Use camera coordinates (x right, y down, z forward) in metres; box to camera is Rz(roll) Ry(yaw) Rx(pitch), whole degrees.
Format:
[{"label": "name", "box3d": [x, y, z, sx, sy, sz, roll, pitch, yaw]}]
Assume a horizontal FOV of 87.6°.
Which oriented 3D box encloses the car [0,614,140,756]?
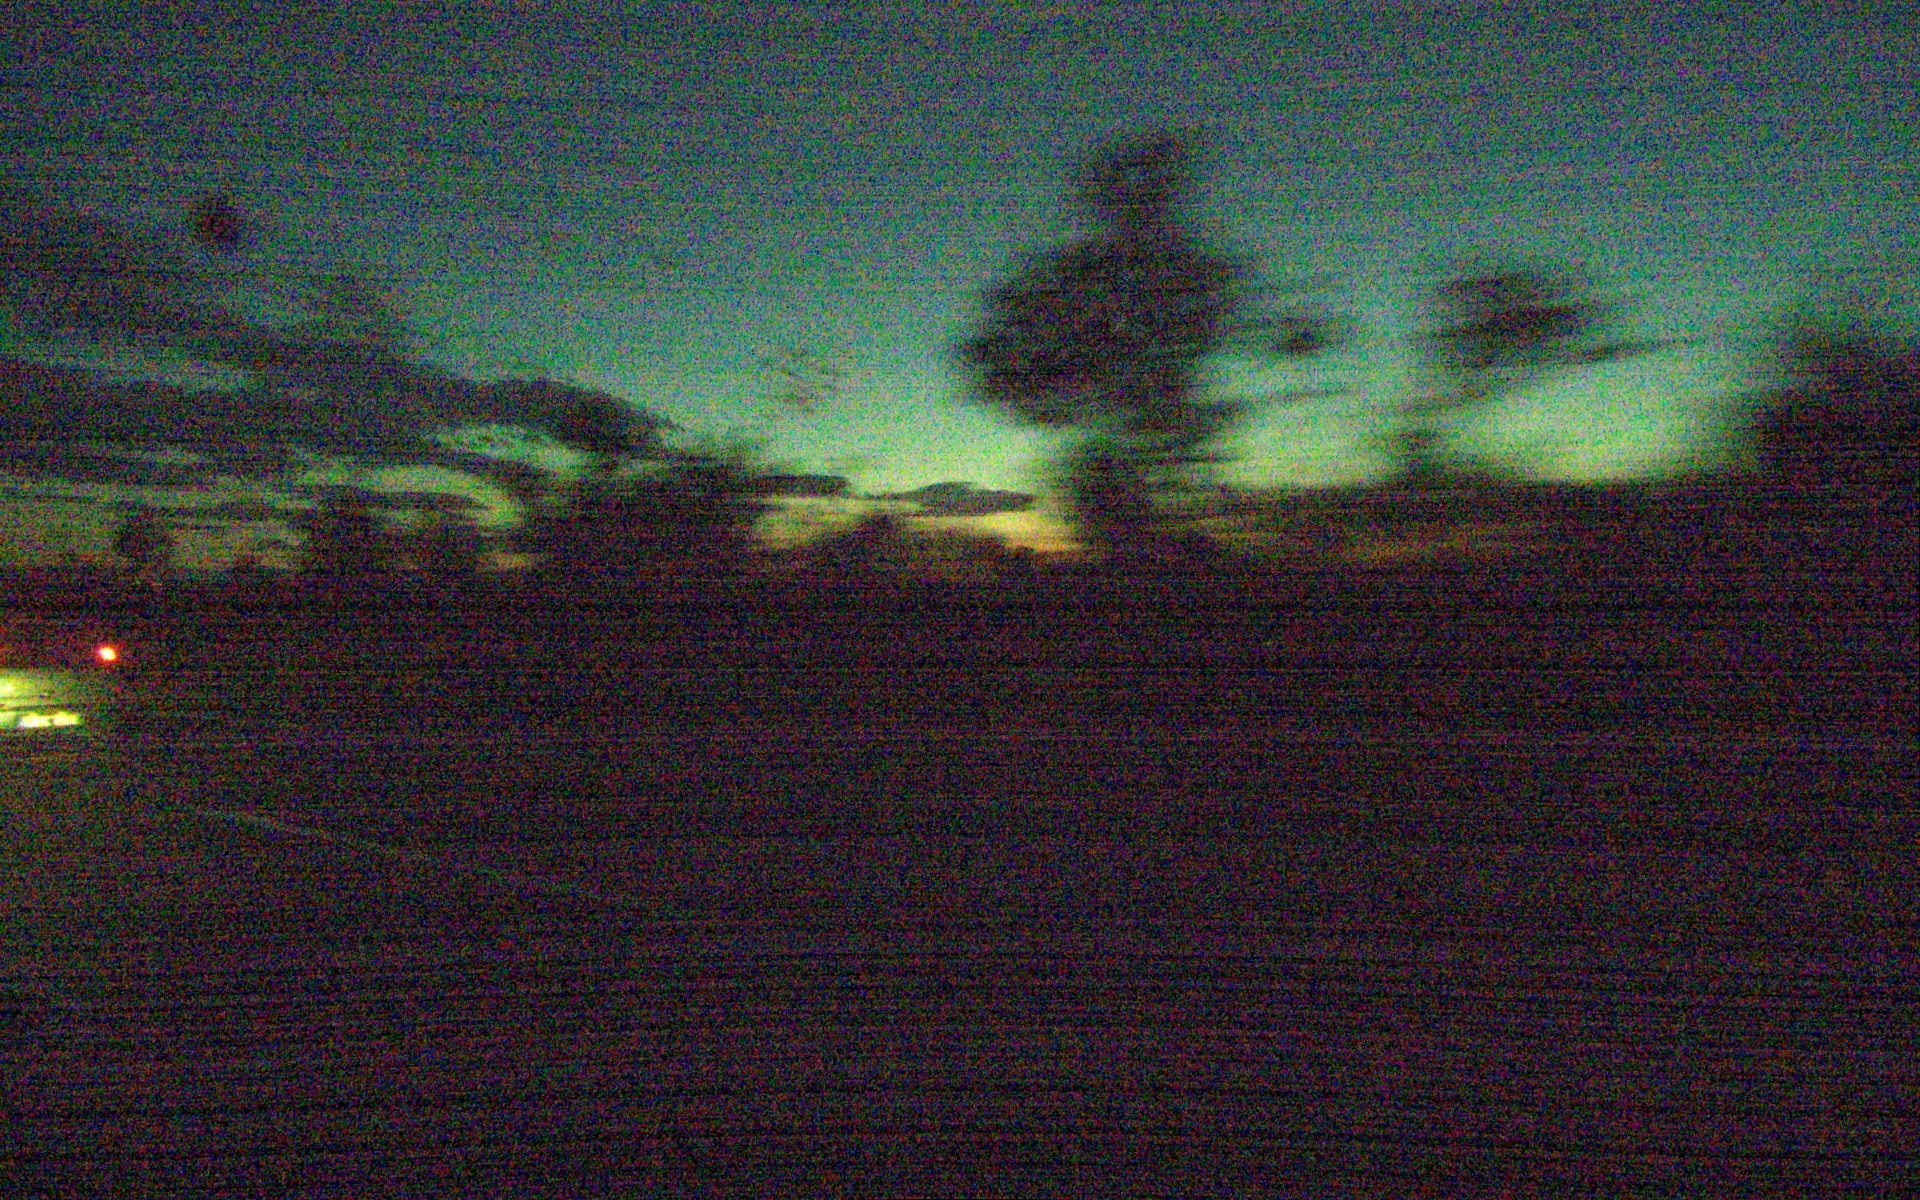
[{"label": "car", "box3d": [-12.520, 1.003, 12.961, 4.445, 1.617, 1.643, -1, -1, 32]}]
